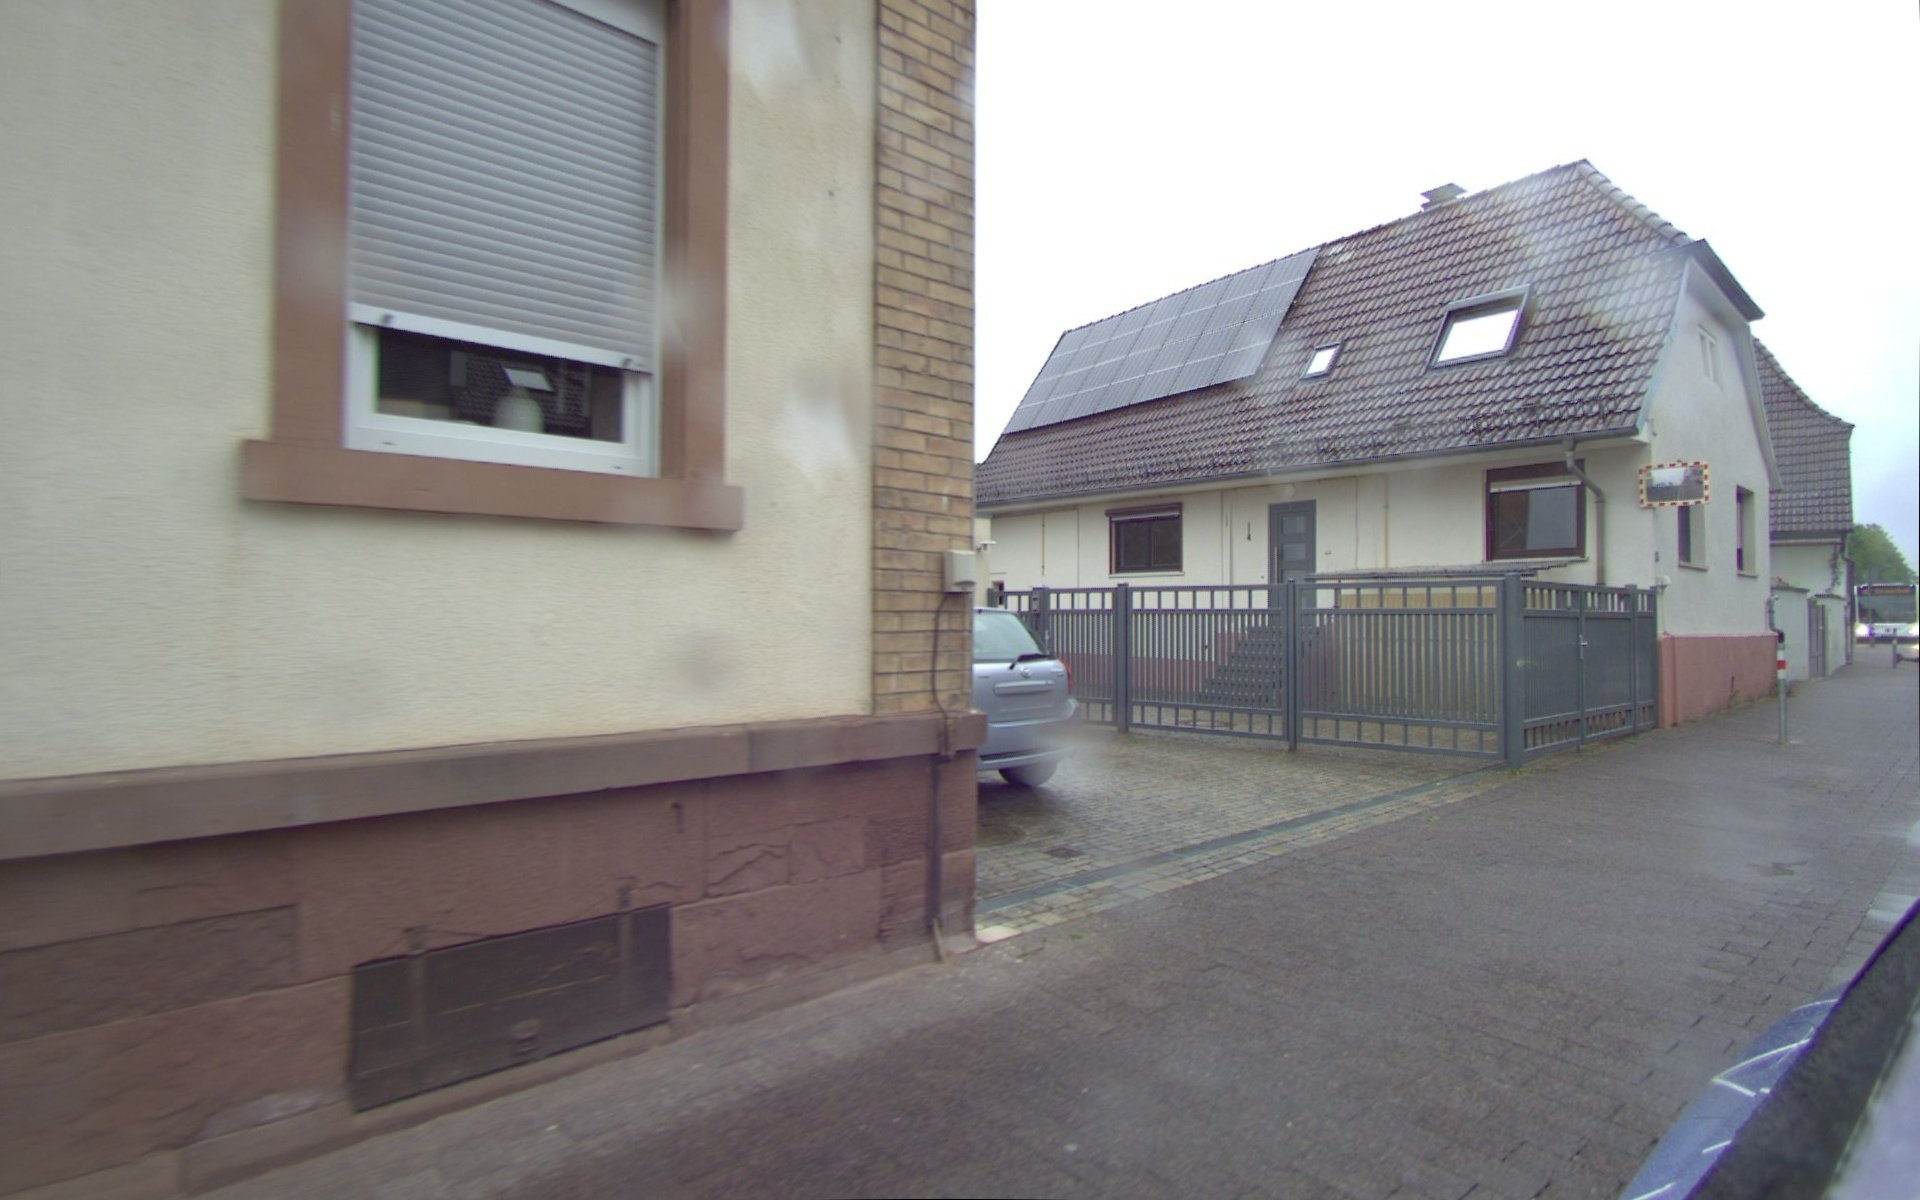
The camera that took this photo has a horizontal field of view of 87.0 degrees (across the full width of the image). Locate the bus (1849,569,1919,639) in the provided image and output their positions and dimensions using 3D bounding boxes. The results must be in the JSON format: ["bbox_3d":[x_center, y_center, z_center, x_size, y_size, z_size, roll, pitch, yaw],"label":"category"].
[{"bbox_3d":[51.012,0.196,55.341,3.428,3.455,13.663,-1,-1,41],"label":"bus"}]

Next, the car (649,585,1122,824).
[{"bbox_3d":[-0.790,0.698,8.456,3.896,1.517,1.822,-2,-1,44],"label":"car"}]
